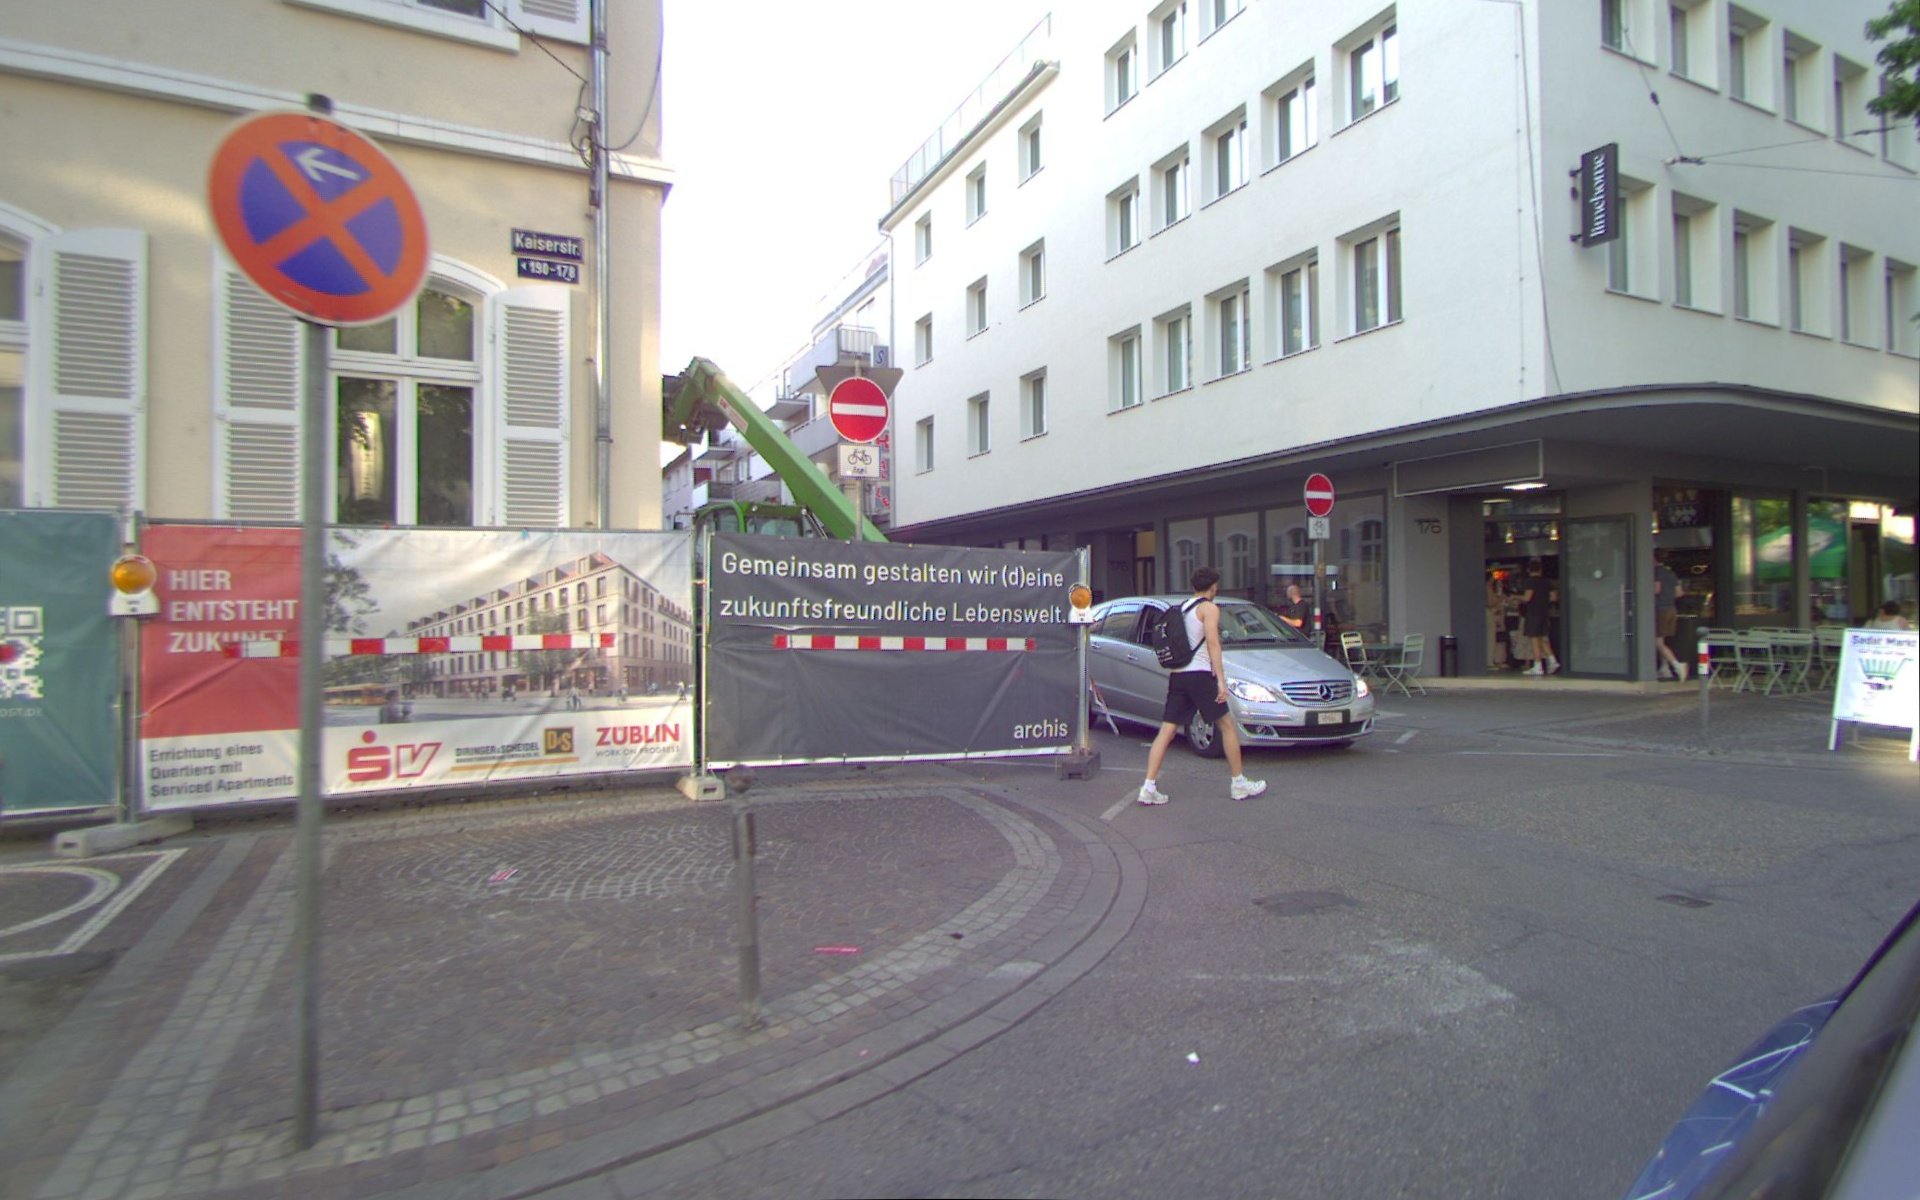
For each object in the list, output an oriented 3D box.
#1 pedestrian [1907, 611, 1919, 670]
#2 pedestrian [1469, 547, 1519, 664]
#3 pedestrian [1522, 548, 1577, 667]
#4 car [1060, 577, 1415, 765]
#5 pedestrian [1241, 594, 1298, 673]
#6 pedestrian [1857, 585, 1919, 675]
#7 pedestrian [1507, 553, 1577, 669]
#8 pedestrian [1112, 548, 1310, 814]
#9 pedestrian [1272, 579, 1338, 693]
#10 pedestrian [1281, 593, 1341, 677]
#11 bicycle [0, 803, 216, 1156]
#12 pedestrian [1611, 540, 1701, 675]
[{"bbox_3d":[15.714,0.653,16.132,0.611,0.944,0.718,0,-1,-24],"label":"pedestrian"},{"bbox_3d":[9.093,0.096,17.225,0.568,1.934,0.713,-1,-1,43],"label":"pedestrian"},{"bbox_3d":[9.829,0.122,16.872,0.720,1.934,0.563,-1,-1,36],"label":"pedestrian"},{"bbox_3d":[2.804,0.646,11.217,1.828,1.629,3.950,-2,0,-19],"label":"car"},{"bbox_3d":[5.370,0.569,17.599,0.702,1.346,0.625,0,-1,-25],"label":"pedestrian"},{"bbox_3d":[14.532,0.452,15.692,0.611,1.346,0.718,0,-1,-24],"label":"pedestrian"},{"bbox_3d":[9.199,0.170,16.014,0.702,1.789,0.624,0,-1,-7],"label":"pedestrian"},{"bbox_3d":[1.881,0.567,7.702,1.048,1.838,0.948,-2,-1,-18],"label":"pedestrian"},{"bbox_3d":[5.097,0.522,14.986,0.702,1.657,0.624,0,-1,-7],"label":"pedestrian"},{"bbox_3d":[5.792,0.562,16.710,0.702,1.346,0.625,0,-1,-25],"label":"pedestrian"},{"bbox_3d":[-3.451,1.171,2.857,1.532,0.757,1.760,0,1,-8],"label":"bicycle"},{"bbox_3d":[10.315,0.108,15.017,0.785,1.934,0.729,0,-1,-13],"label":"pedestrian"}]
